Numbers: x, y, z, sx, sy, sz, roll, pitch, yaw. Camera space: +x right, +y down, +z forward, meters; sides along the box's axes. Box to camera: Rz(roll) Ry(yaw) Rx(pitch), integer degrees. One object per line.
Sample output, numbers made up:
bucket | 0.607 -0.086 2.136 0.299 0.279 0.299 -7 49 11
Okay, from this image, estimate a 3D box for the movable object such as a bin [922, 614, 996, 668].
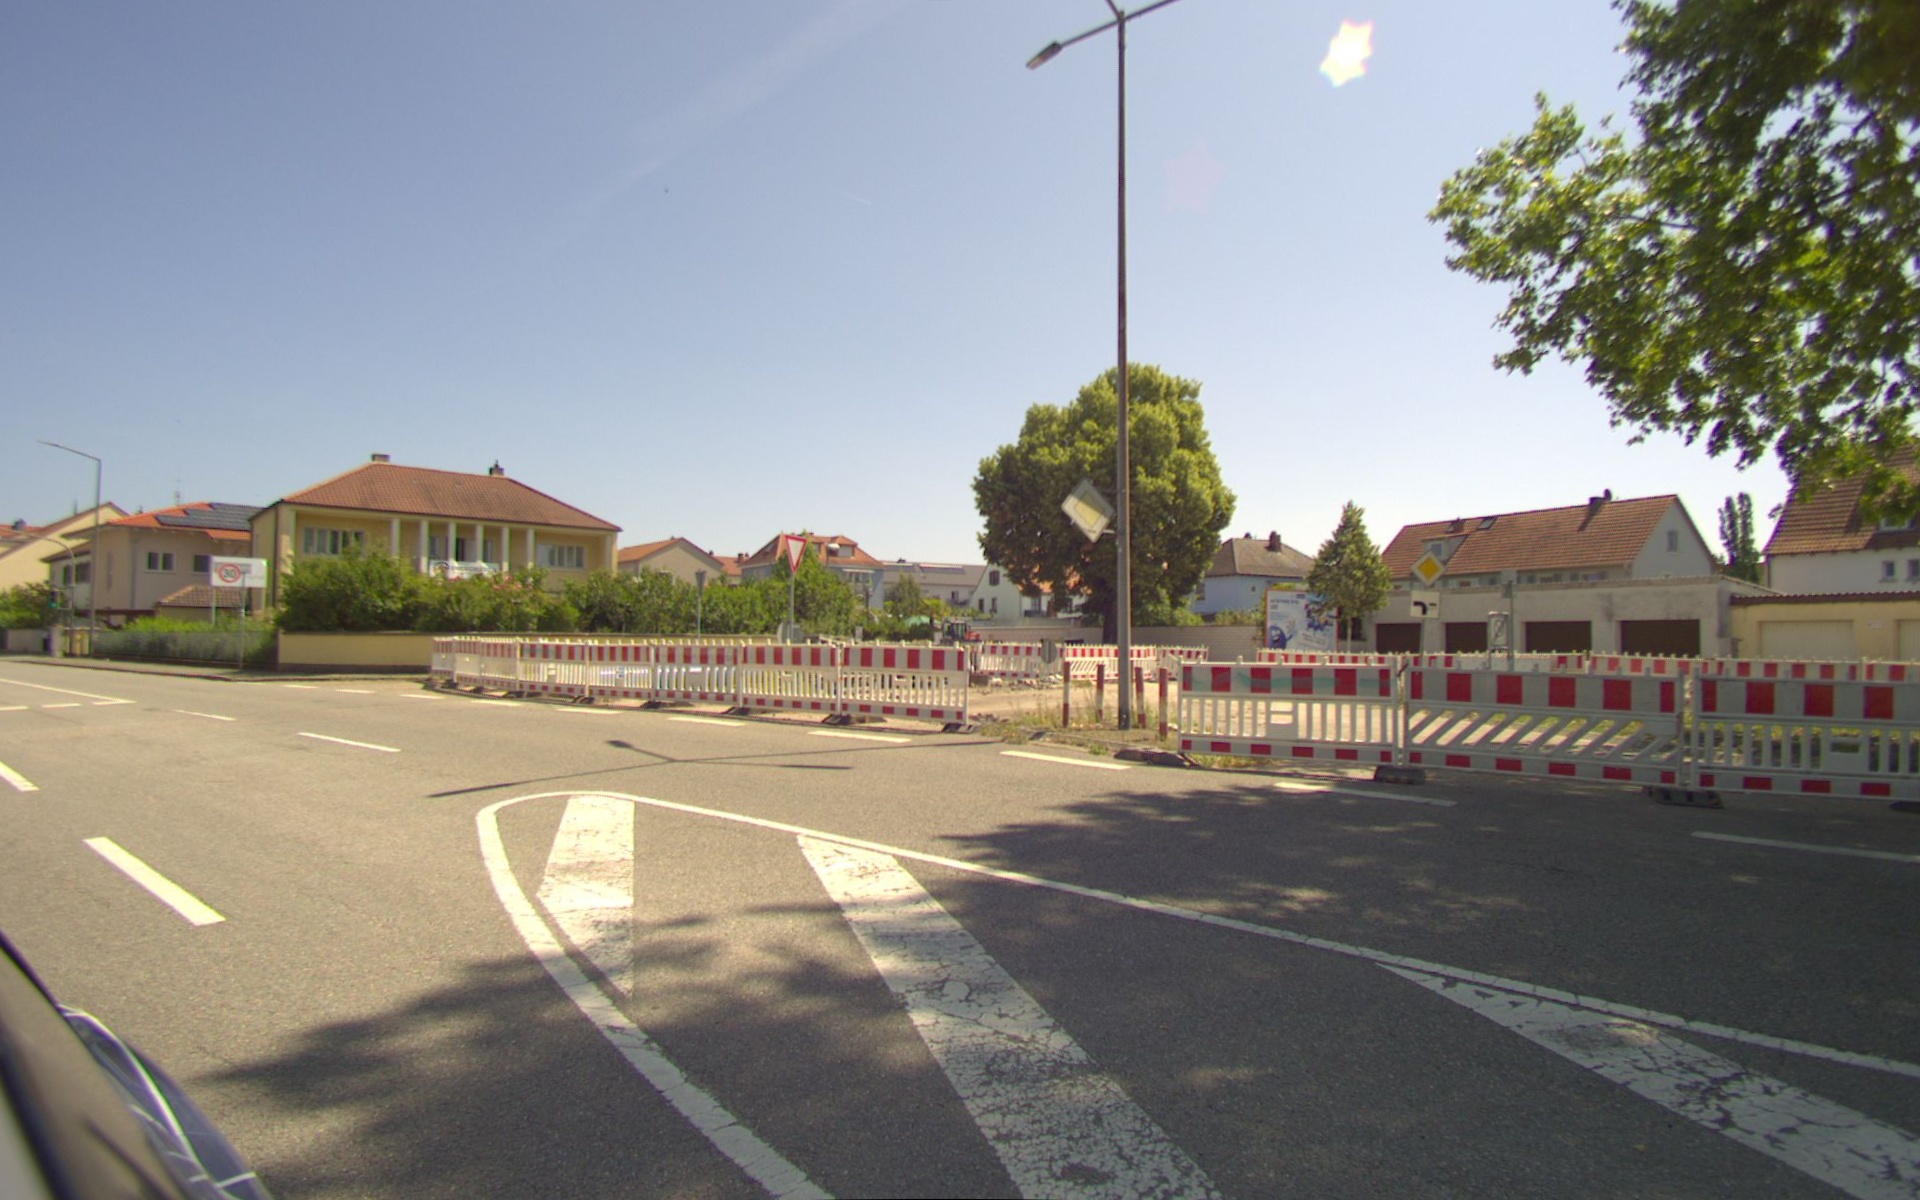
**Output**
movable object such as a bin | -0.105 2.194 53.772 2.239 2.756 3.942 2 -3 -30
